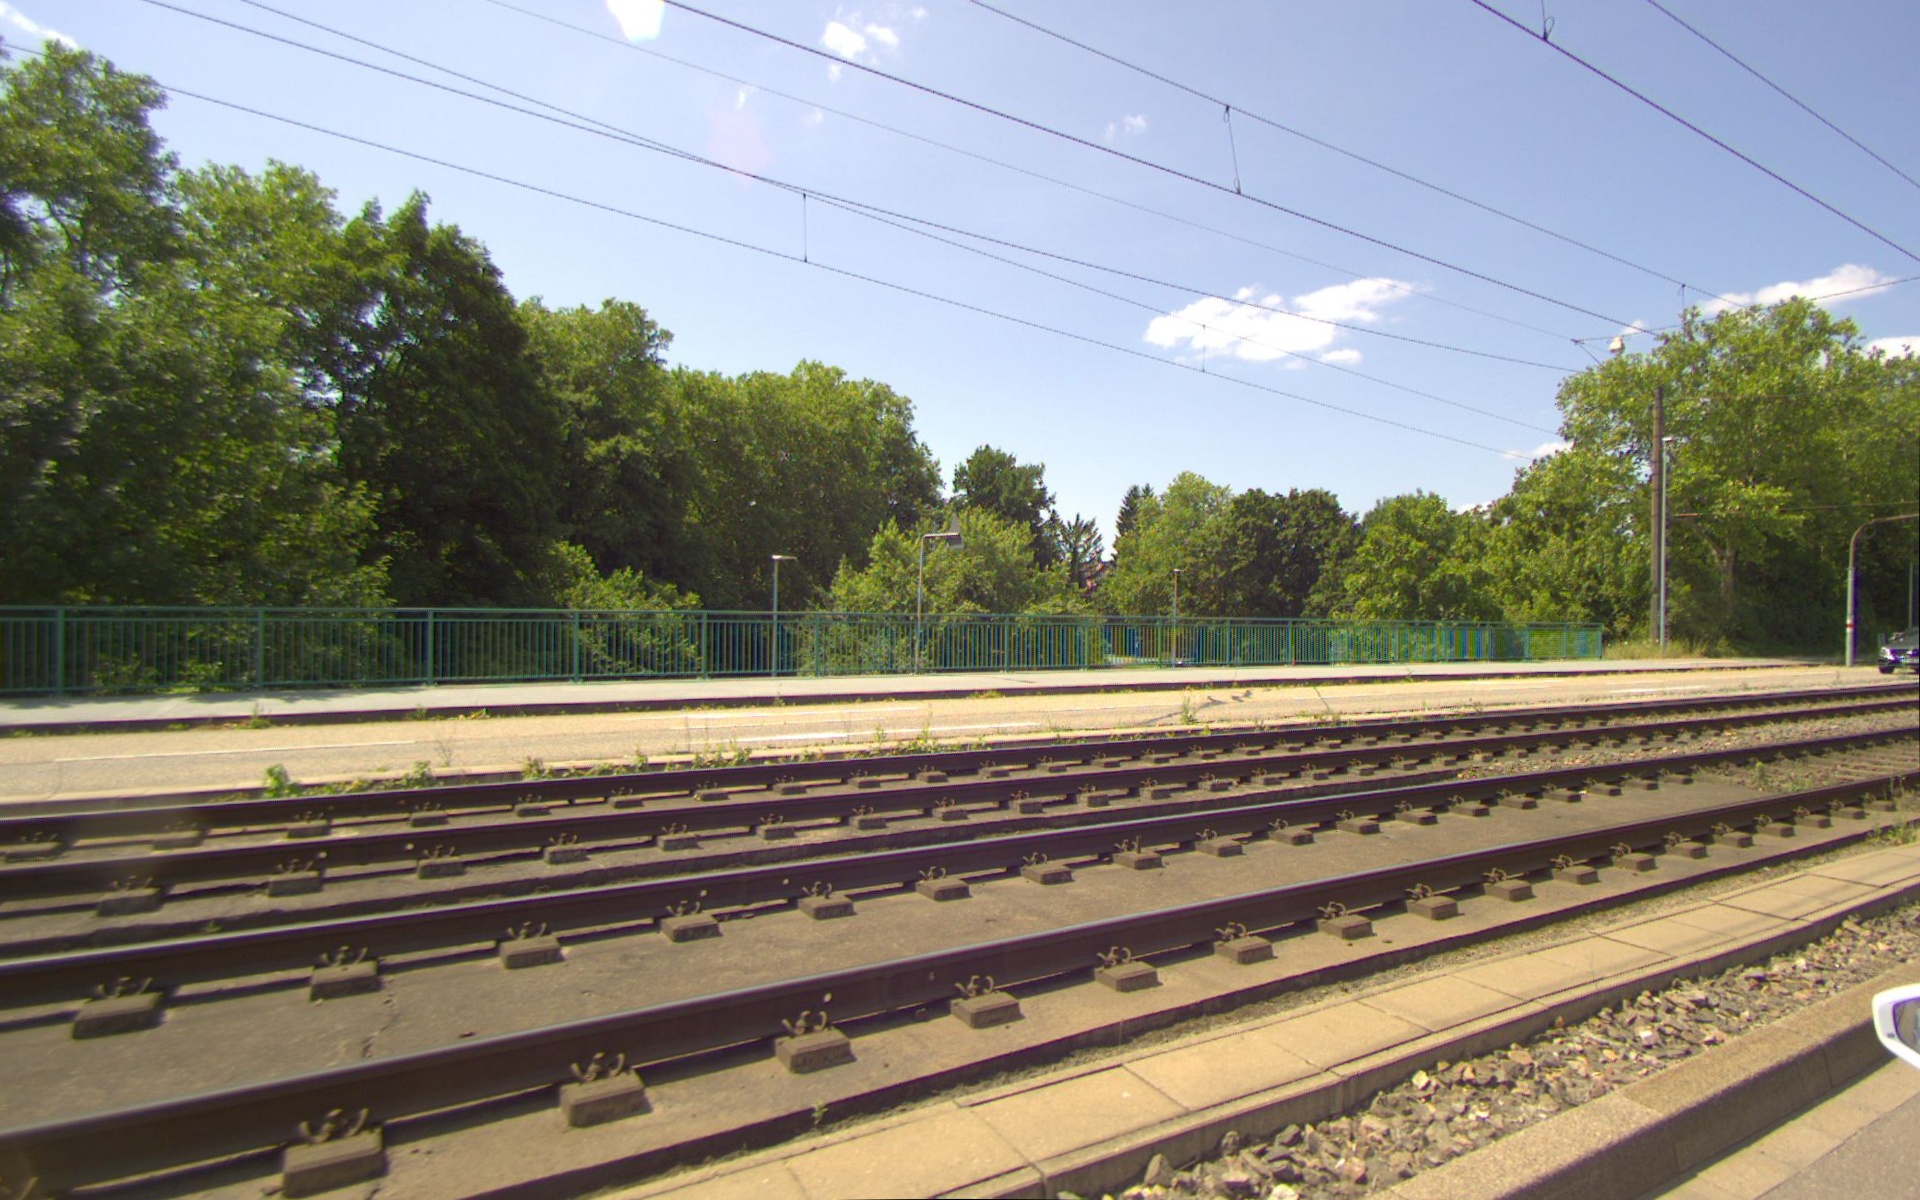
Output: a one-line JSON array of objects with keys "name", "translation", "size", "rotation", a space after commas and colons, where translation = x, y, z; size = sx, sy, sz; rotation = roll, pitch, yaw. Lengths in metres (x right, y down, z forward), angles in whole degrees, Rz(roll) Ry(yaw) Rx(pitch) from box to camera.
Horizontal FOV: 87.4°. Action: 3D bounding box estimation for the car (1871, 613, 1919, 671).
[{"name": "car", "translation": [31.305, 1.348, 32.069], "size": [5.270, 1.743, 1.865], "rotation": [2, 0, -31]}]
